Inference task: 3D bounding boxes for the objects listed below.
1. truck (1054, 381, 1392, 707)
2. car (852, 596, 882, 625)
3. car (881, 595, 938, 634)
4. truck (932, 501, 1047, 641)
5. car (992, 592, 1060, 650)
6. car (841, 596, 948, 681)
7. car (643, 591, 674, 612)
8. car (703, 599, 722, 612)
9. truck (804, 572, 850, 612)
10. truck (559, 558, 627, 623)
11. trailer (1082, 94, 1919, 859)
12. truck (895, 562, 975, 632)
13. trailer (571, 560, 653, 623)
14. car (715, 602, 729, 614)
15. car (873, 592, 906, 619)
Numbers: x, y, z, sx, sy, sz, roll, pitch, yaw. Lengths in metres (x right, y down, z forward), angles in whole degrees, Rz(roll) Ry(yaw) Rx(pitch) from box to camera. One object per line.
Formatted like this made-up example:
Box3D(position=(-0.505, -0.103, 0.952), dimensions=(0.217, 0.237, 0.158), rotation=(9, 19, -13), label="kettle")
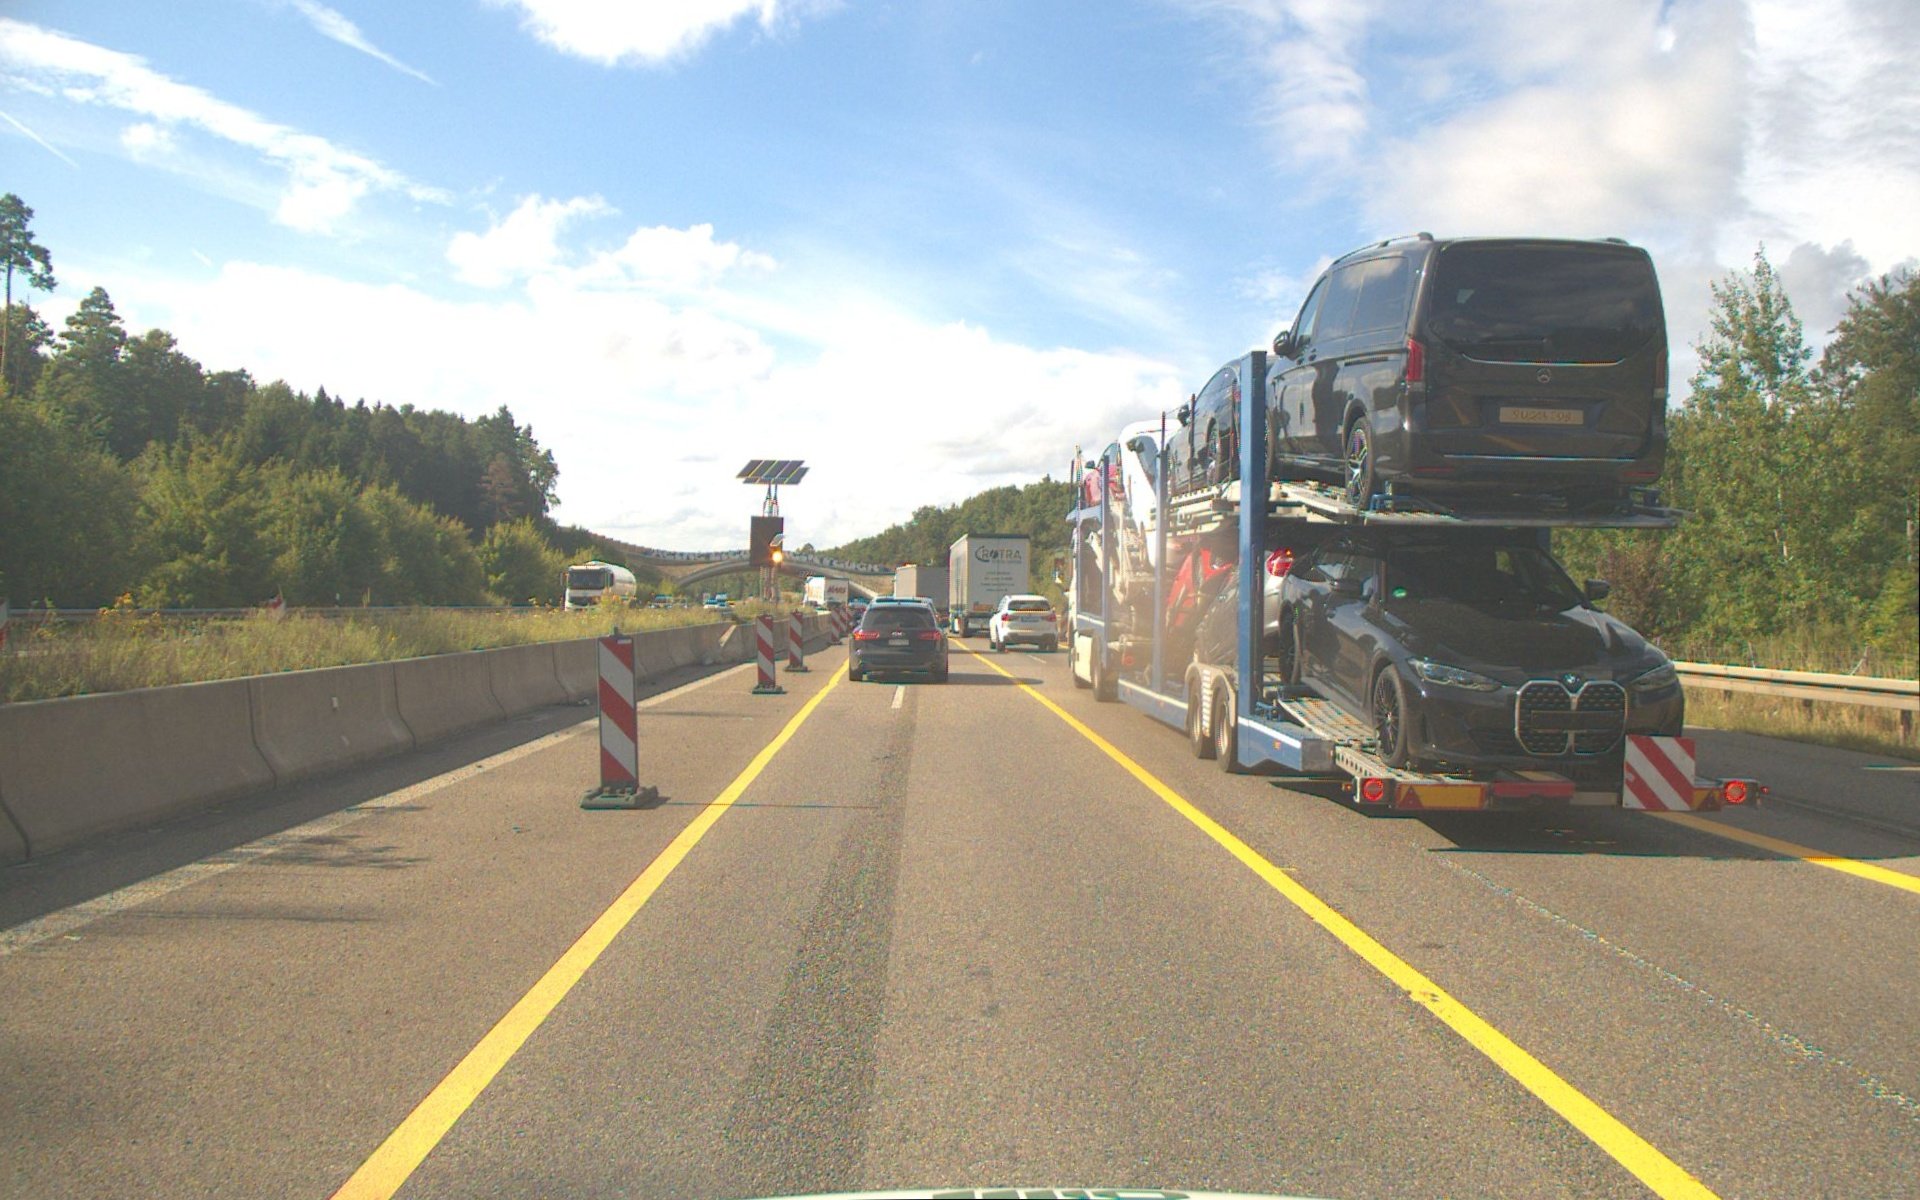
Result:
Box3D(position=(3.738, -0.724, 25.977), dimensions=(3.686, 4.270, 7.946), rotation=(1, 0, -3), label="truck")
Box3D(position=(-6.914, 0.776, 122.913), dimensions=(1.956, 2.049, 3.993), rotation=(1, 0, -7), label="car")
Box3D(position=(-2.040, 0.568, 65.277), dimensions=(1.854, 1.472, 3.993), rotation=(1, 0, -7), label="car")
Box3D(position=(1.044, -1.104, 73.034), dimensions=(3.605, 5.447, 16.187), rotation=(1, 0, -4), label="truck")
Box3D(position=(1.971, 0.625, 50.639), dimensions=(1.852, 1.672, 4.017), rotation=(1, 0, -1), label="car")
Box3D(position=(-1.178, 0.690, 31.167), dimensions=(1.852, 1.472, 3.999), rotation=(1, 0, -1), label="car")
Box3D(position=(-23.853, 0.105, 130.830), dimensions=(1.742, 1.630, 4.017), rotation=(1, 0, -1), label="car")
Box3D(position=(-30.785, 0.665, 205.603), dimensions=(1.742, 1.630, 4.017), rotation=(1, 0, -1), label="car")
Box3D(position=(-14.004, -0.833, 173.609), dimensions=(3.588, 3.997, 11.038), rotation=(1, 0, -11), label="truck")
Box3D(position=(-20.664, -0.513, 93.289), dimensions=(2.728, 3.551, 4.938), rotation=(1, 0, -1), label="truck")
Box3D(position=(4.101, -0.649, 17.480), dimensions=(3.652, 4.270, 16.218), rotation=(1, 0, -3), label="trailer")
Box3D(position=(-1.923, -0.186, 118.071), dimensions=(4.239, 4.681, 11.102), rotation=(1, 0, -9), label="truck")
Box3D(position=(-20.781, -0.473, 99.479), dimensions=(2.745, 3.551, 11.110), rotation=(1, 0, -1), label="trailer")
Box3D(position=(-33.773, 1.077, 234.536), dimensions=(1.743, 1.630, 4.671), rotation=(1, 0, -5), label="car")
Box3D(position=(-4.544, 0.346, 106.007), dimensions=(1.854, 1.672, 4.012), rotation=(1, 0, -6), label="car")
